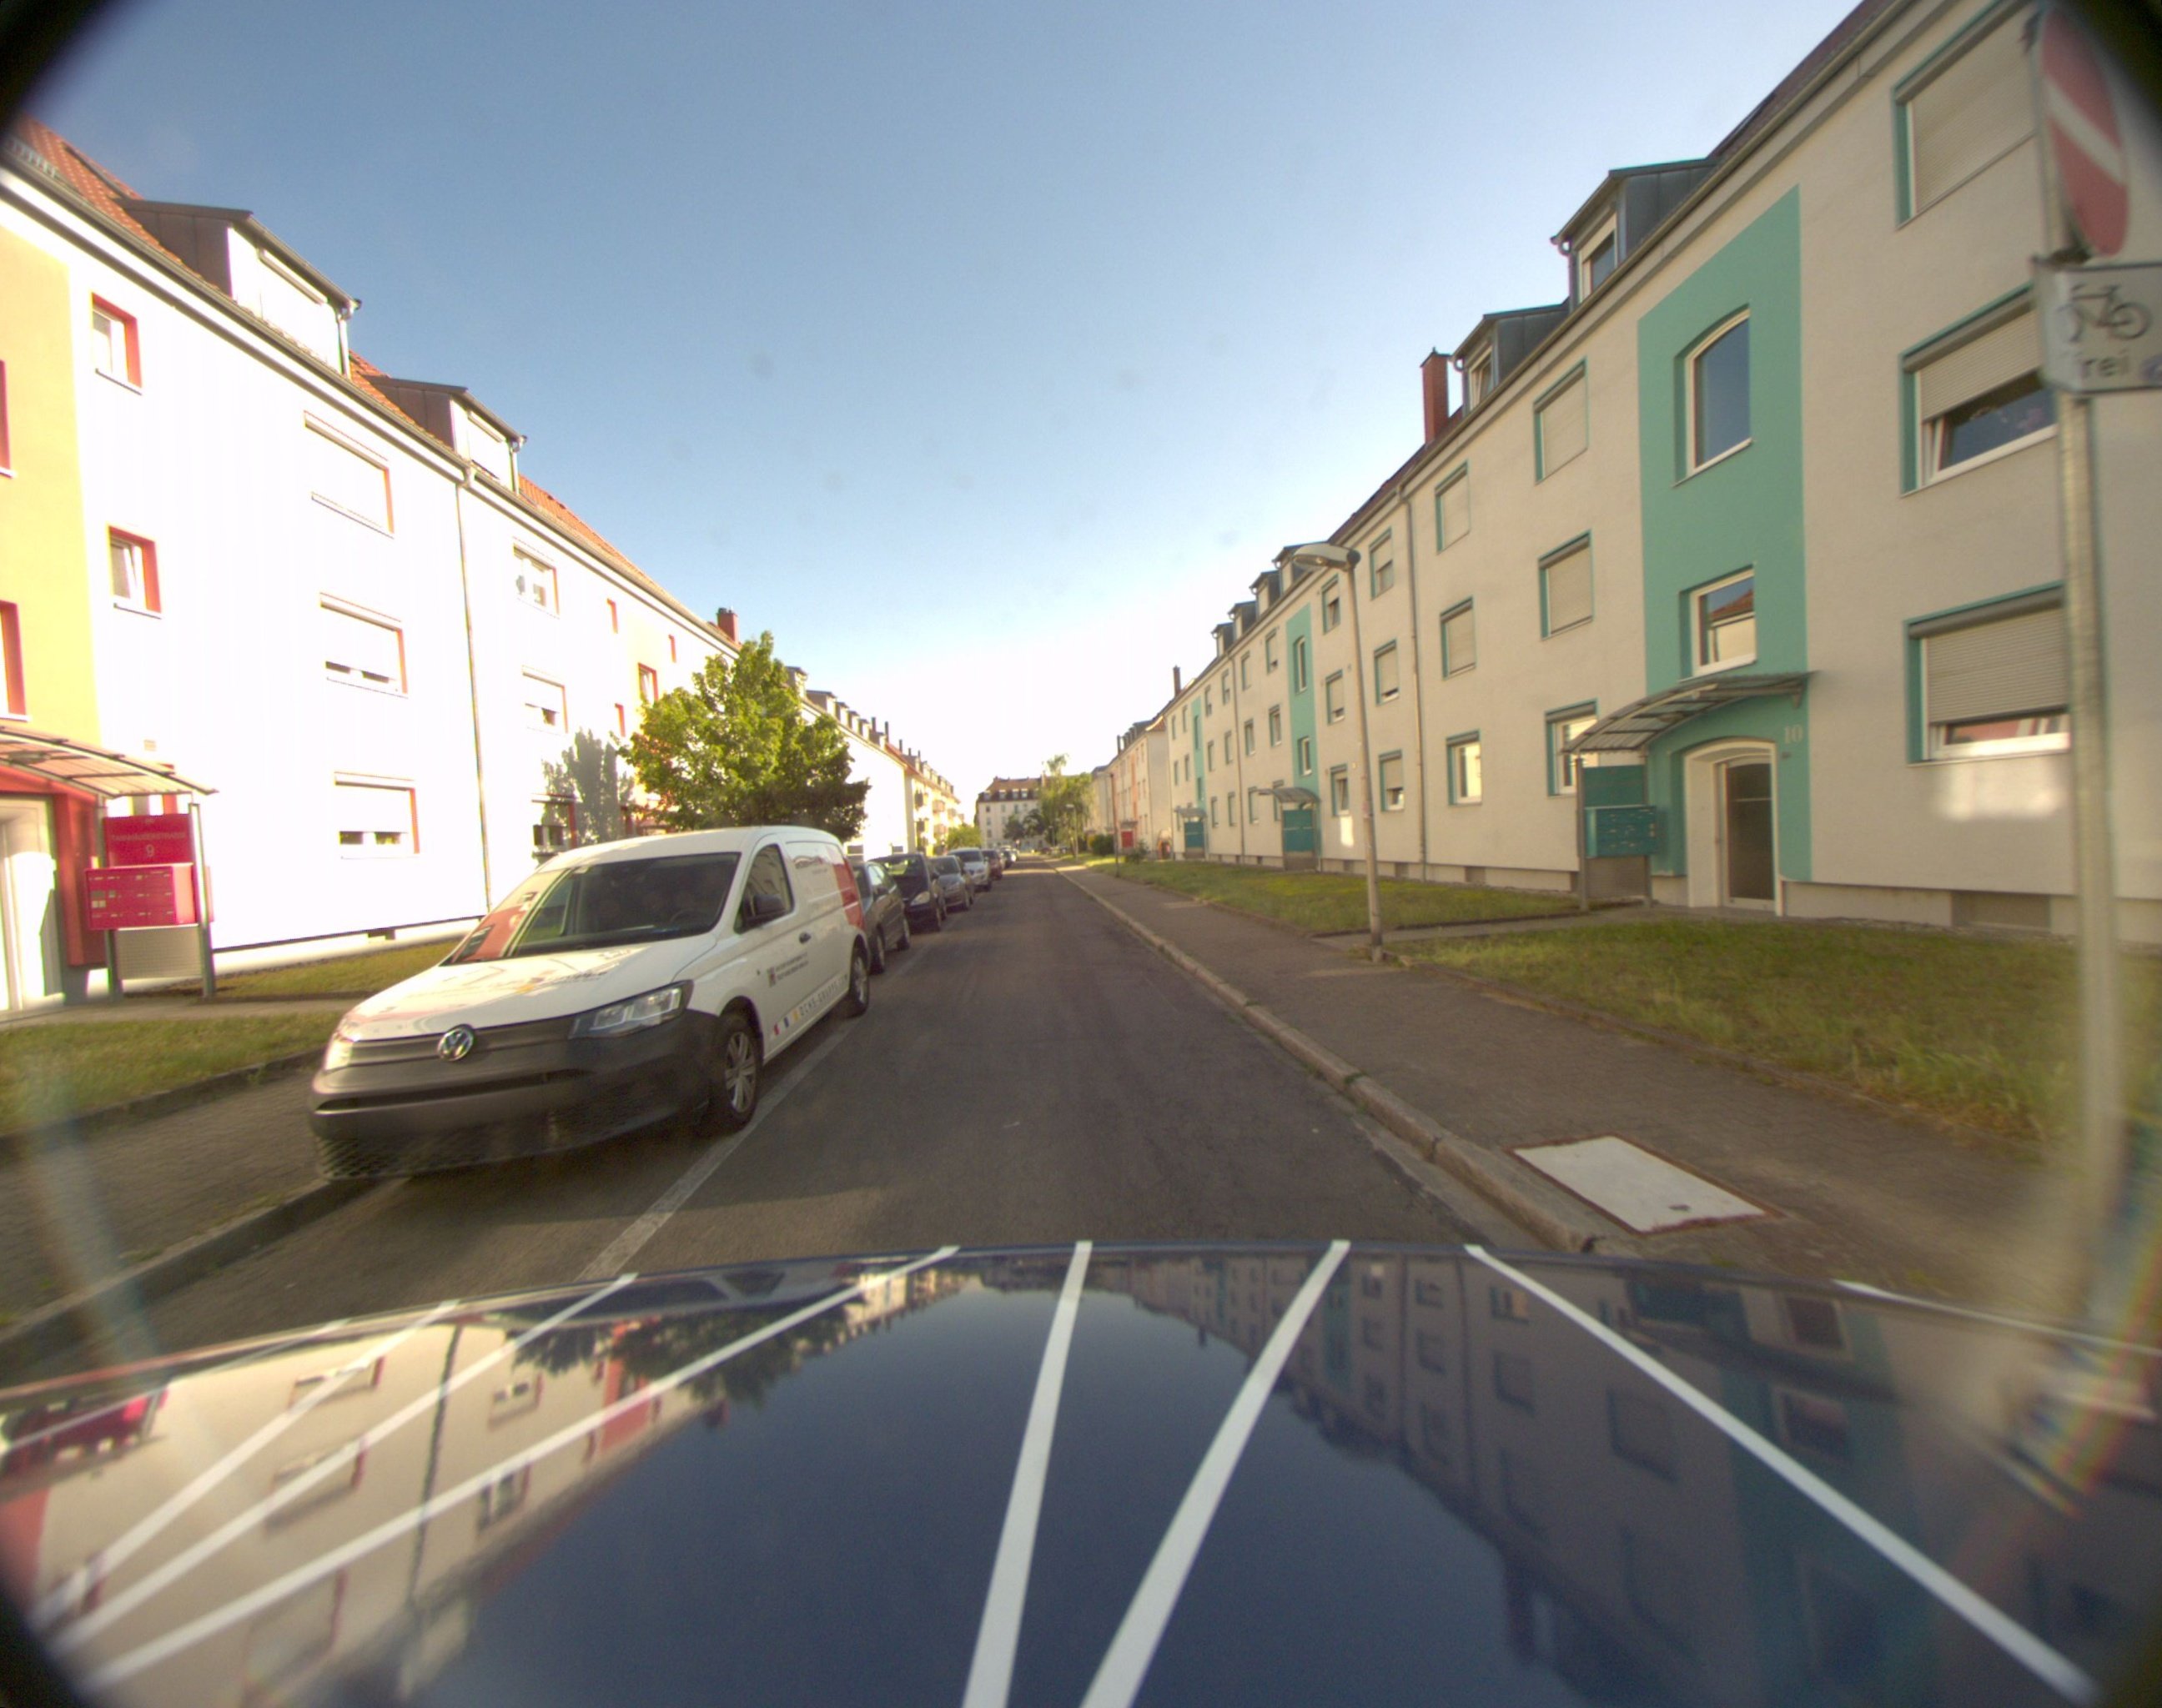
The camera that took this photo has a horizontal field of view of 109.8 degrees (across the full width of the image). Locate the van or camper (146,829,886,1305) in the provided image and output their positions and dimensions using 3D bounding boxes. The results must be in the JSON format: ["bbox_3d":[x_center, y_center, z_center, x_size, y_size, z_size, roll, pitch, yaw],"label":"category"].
[{"bbox_3d":[-2.869,0.821,5.464,1.797,1.738,4.732,-7,1,-3],"label":"van or camper"}]

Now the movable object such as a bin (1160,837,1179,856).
[{"bbox_3d":[6.531,-0.541,56.264,1.167,1.385,0.877,-3,1,-4],"label":"movable object such as a bin"}]

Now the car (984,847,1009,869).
[{"bbox_3d":[-6.534,0.245,58.884,1.709,1.562,4.039,-3,1,-4],"label":"car"}]

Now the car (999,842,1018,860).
[{"bbox_3d":[-8.415,-0.381,89.115,1.954,1.890,4.761,-3,2,-3],"label":"car"}]

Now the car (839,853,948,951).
[{"bbox_3d":[-3.706,0.860,15.584,1.622,1.542,3.608,-7,2,-8],"label":"car"}]

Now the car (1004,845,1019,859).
[{"bbox_3d":[-8.749,-0.313,95.827,1.709,1.562,4.732,-3,2,-3],"label":"car"}]

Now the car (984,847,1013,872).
[{"bbox_3d":[-5.611,0.354,52.119,1.709,1.562,3.874,-3,1,-4],"label":"car"}]

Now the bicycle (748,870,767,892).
[{"bbox_3d":[-14.999,1.236,35.231,0.319,0.941,1.282,-1,1,-2],"label":"bicycle"}]

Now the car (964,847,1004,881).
[{"bbox_3d":[-5.020,0.456,39.879,1.732,1.597,4.421,-3,1,-4],"label":"car"}]

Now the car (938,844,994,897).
[{"bbox_3d":[-4.303,0.565,29.037,1.780,1.709,4.304,-5,1,-6],"label":"car"}]

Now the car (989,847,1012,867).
[{"bbox_3d":[-6.835,0.215,64.737,1.709,1.562,4.039,-3,1,-4],"label":"car"}]

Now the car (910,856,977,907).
[{"bbox_3d":[-4.320,0.805,24.234,1.633,1.386,3.487,-2,1,-3],"label":"car"}]

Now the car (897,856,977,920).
[{"bbox_3d":[-3.699,0.813,20.066,1.633,1.442,3.950,-3,0,-6],"label":"car"}]

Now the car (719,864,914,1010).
[{"bbox_3d":[-3.399,0.963,10.497,1.577,1.409,3.785,-5,1,-5],"label":"car"}]
